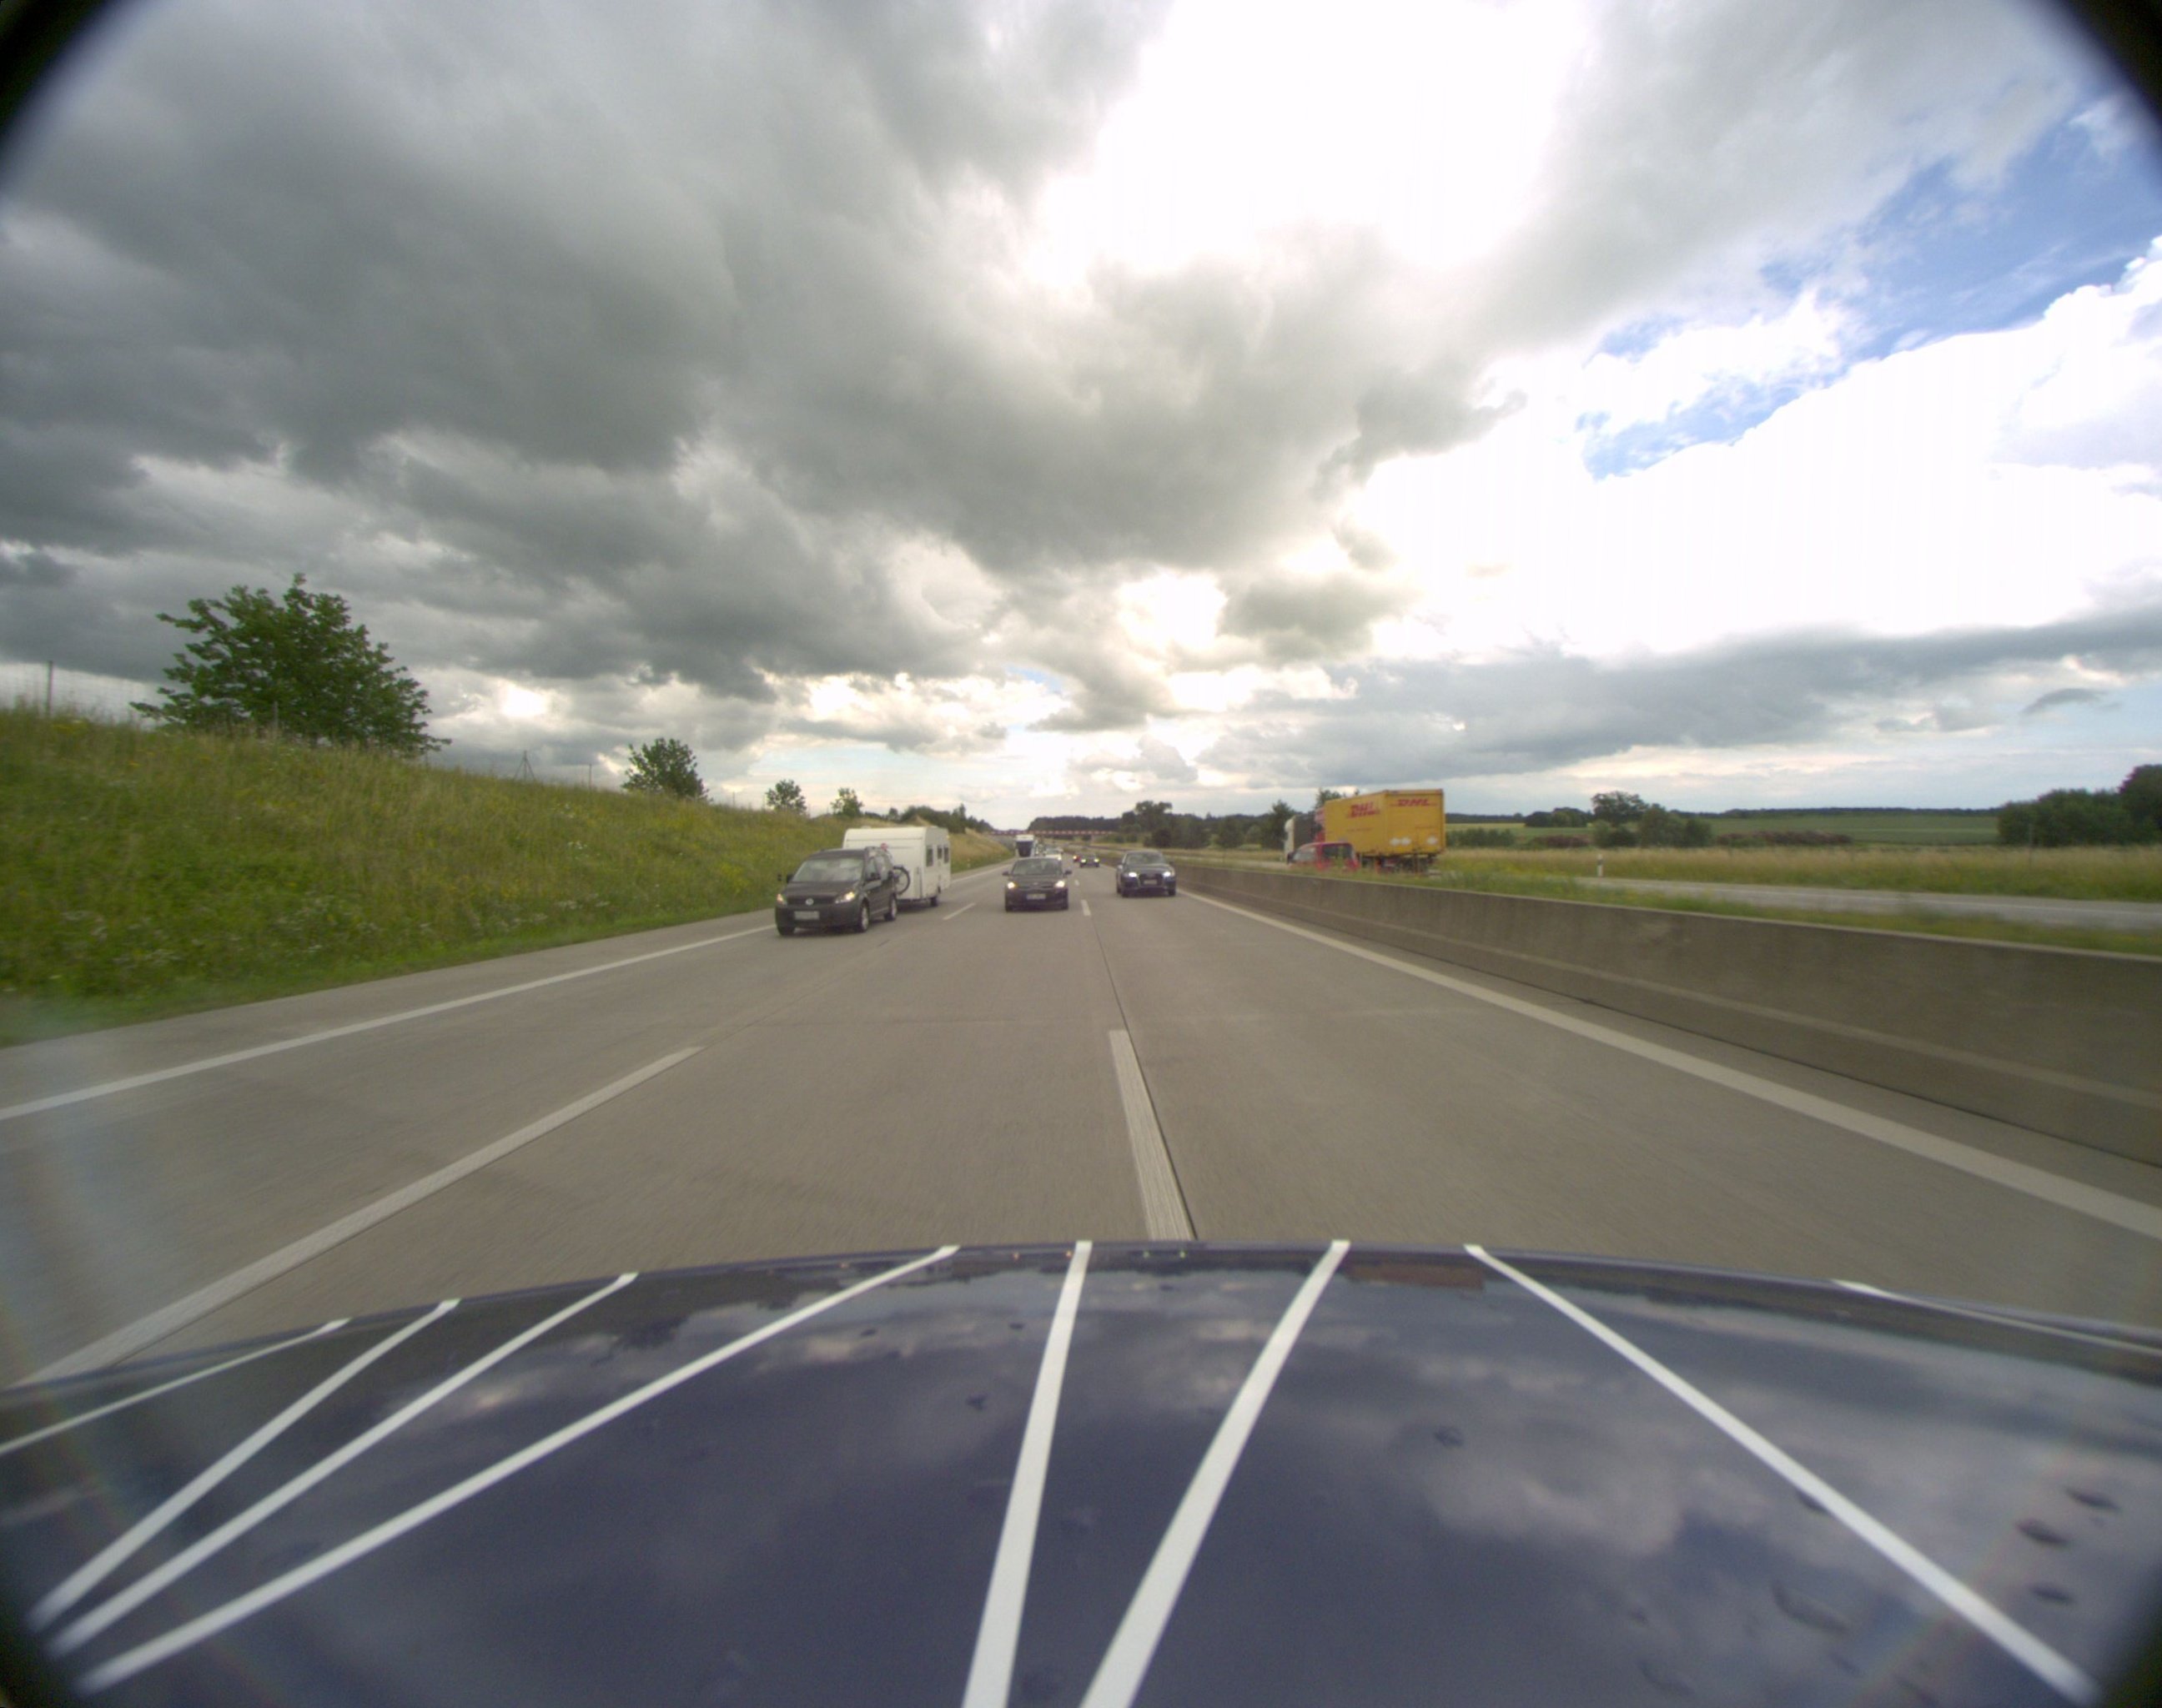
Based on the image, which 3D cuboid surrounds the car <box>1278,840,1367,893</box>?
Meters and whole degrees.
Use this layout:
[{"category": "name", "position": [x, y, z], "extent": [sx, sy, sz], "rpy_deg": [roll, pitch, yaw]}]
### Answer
[{"category": "car", "position": [9.831, 0.430, 31.446], "extent": [1.817, 1.951, 5.338], "rpy_deg": [-2, 1, -1]}]

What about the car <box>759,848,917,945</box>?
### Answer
[{"category": "car", "position": [-5.275, 0.805, 17.291], "extent": [1.944, 1.799, 5.031], "rpy_deg": [-1, 1, 0]}]

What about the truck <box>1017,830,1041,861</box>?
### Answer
[{"category": "truck", "position": [-7.475, -1.155, 109.981], "extent": [2.855, 4.176, 10.707], "rpy_deg": [-1, 0, -1]}]

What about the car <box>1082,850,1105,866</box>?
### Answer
[{"category": "car", "position": [1.183, 0.387, 72.284], "extent": [1.939, 1.464, 4.001], "rpy_deg": [-1, 0, 4]}]

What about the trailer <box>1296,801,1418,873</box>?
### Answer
[{"category": "trailer", "position": [17.557, -1.002, 49.913], "extent": [2.847, 4.014, 13.905], "rpy_deg": [-1, 0, 0]}]

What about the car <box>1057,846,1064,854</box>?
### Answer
[{"category": "car", "position": [-5.790, -1.122, 211.451], "extent": [1.999, 2.002, 3.998], "rpy_deg": [-1, 1, -2]}]

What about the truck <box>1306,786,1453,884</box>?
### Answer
[{"category": "truck", "position": [13.912, -0.803, 36.644], "extent": [2.824, 4.014, 10.566], "rpy_deg": [-1, 0, 0]}]

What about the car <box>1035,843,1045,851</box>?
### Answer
[{"category": "car", "position": [-10.892, -1.882, 202.630], "extent": [2.358, 2.002, 4.810], "rpy_deg": [-2, 1, -2]}]

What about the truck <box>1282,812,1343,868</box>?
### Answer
[{"category": "truck", "position": [17.470, -1.036, 57.623], "extent": [2.847, 4.015, 5.510], "rpy_deg": [-1, 1, 0]}]

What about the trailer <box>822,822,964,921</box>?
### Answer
[{"category": "trailer", "position": [-5.427, 0.405, 23.207], "extent": [2.615, 2.520, 6.720], "rpy_deg": [-1, 1, 0]}]

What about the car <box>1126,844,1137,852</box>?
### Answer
[{"category": "car", "position": [8.305, -0.982, 124.549], "extent": [1.571, 1.344, 3.472], "rpy_deg": [-1, 1, 0]}]

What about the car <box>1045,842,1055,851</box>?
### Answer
[{"category": "car", "position": [-7.240, -1.695, 178.381], "extent": [1.998, 2.002, 3.999], "rpy_deg": [-2, 1, 1]}]

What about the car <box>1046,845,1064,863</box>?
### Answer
[{"category": "car", "position": [-2.962, 0.015, 88.150], "extent": [1.999, 2.002, 3.999], "rpy_deg": [-1, 0, -2]}]

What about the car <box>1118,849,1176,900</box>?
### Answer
[{"category": "car", "position": [2.260, 0.647, 27.288], "extent": [1.797, 1.587, 5.157], "rpy_deg": [-2, 0, 2]}]

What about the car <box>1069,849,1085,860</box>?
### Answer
[{"category": "car", "position": [-0.514, 0.035, 105.580], "extent": [1.821, 1.364, 3.783], "rpy_deg": [-2, 1, 4]}]

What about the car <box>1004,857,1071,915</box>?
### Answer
[{"category": "car", "position": [-1.170, 0.855, 22.003], "extent": [1.691, 1.405, 3.999], "rpy_deg": [-1, 1, 0]}]
